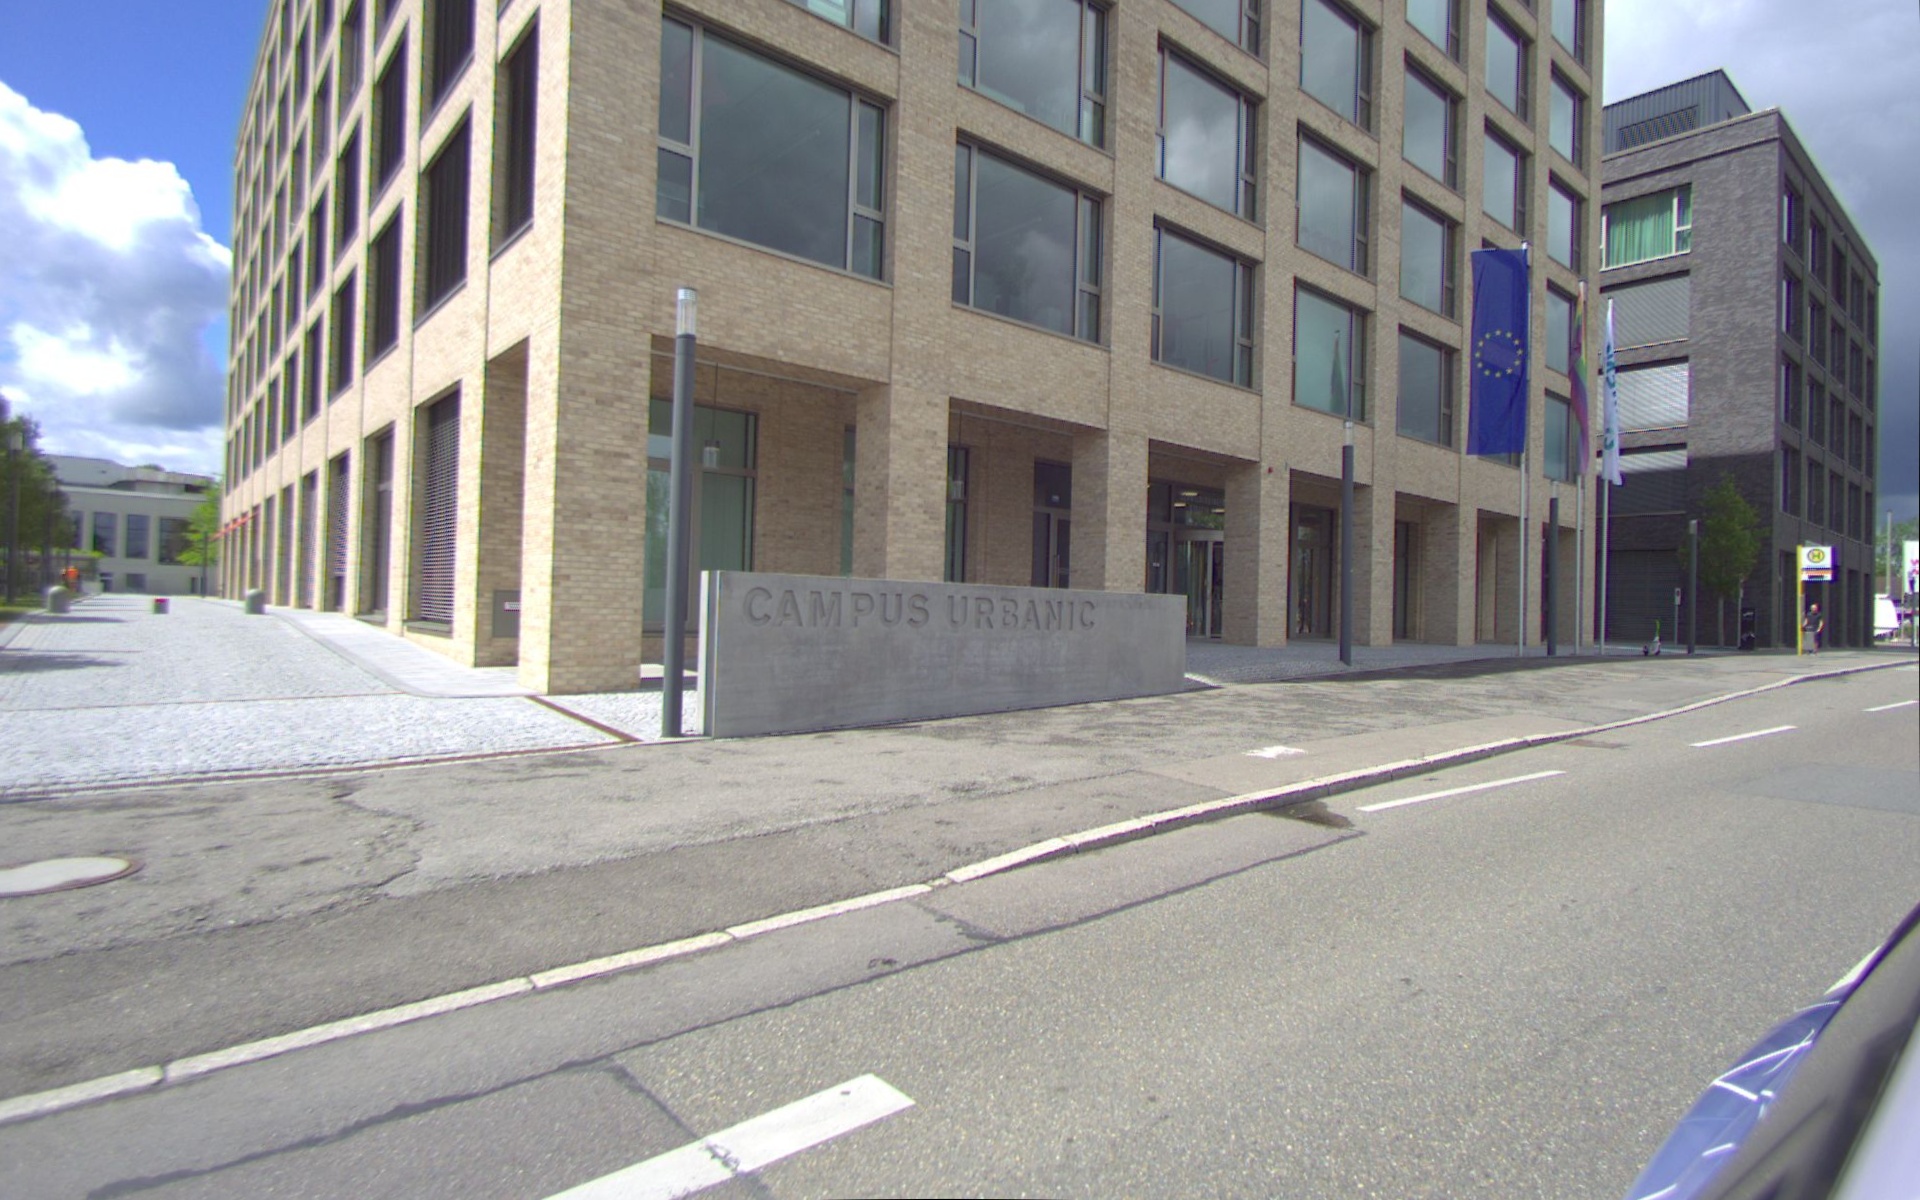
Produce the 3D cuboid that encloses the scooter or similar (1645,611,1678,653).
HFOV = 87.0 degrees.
[{"bbox_3d":[20.498,0.925,29.558,1.378,1.167,0.428,1,0,-40],"label":"scooter or similar"}]

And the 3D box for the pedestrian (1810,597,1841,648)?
[{"bbox_3d":[30.041,0.777,35.115,0.945,1.750,0.684,2,-2,-40],"label":"pedestrian"}]
